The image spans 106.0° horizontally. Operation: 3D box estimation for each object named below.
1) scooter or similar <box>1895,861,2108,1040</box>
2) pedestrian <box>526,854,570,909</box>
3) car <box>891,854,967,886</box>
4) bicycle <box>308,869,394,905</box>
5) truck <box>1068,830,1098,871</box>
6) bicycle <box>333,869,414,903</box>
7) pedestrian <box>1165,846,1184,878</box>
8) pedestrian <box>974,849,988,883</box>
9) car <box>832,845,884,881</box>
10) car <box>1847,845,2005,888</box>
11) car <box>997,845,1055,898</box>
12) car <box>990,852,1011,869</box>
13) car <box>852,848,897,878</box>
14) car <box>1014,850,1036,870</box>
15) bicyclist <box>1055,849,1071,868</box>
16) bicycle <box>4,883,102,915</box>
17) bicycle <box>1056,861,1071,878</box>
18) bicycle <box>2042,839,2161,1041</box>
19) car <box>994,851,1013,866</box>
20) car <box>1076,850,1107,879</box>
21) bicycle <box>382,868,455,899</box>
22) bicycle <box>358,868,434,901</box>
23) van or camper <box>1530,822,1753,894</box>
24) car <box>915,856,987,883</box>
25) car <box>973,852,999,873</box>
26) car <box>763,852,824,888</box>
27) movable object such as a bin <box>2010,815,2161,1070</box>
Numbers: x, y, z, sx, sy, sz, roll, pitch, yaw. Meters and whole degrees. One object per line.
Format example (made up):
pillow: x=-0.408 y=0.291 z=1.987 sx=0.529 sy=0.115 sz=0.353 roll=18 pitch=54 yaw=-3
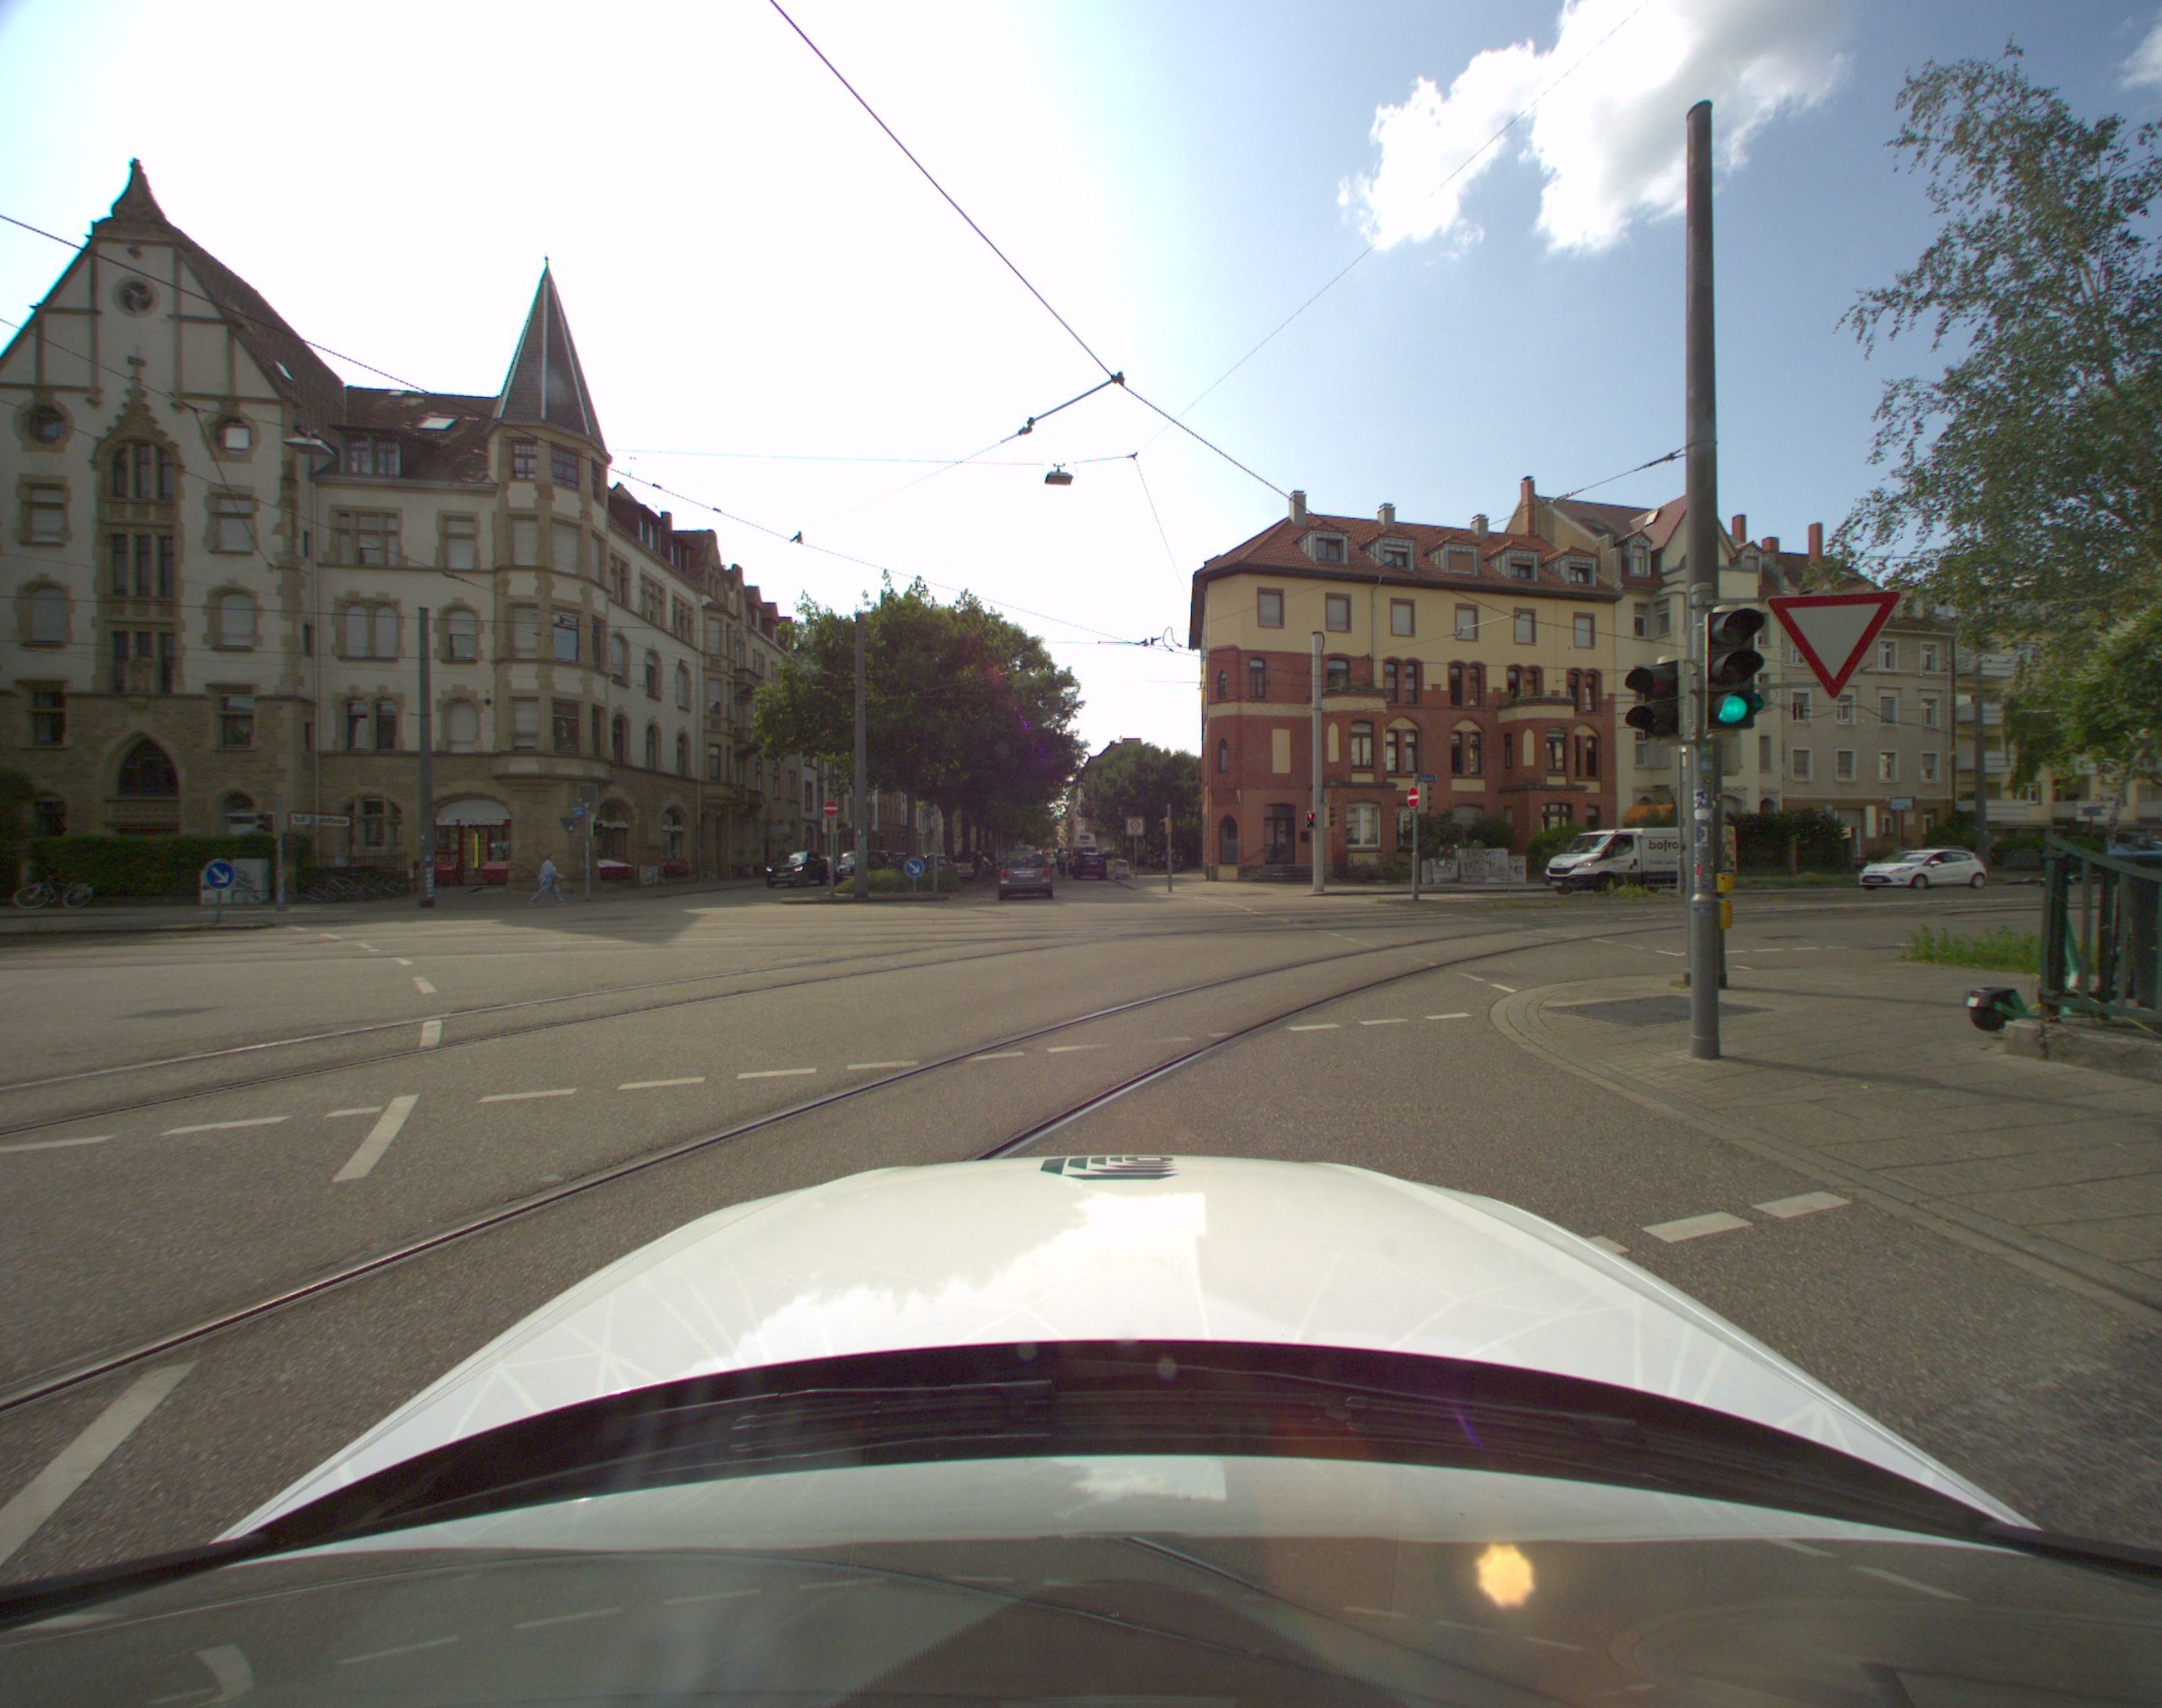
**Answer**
scooter or similar: x=6.789 y=0.680 z=6.024 sx=1.193 sy=1.217 sz=0.462 roll=-1 pitch=0 yaw=-9
pedestrian: x=-17.115 y=0.868 z=26.174 sx=0.766 sy=1.722 sz=1.030 roll=-1 pitch=0 yaw=44
car: x=-7.662 y=0.769 z=40.807 sx=1.985 sy=1.494 sz=3.952 roll=-1 pitch=0 yaw=-41
bicycle: x=-23.842 y=1.078 z=26.640 sx=1.918 sy=1.081 sz=0.775 roll=-1 pitch=0 yaw=-13
truck: x=0.196 y=-0.299 z=61.943 sx=2.115 sy=2.970 sz=4.002 roll=-1 pitch=0 yaw=2
bicycle: x=-24.177 y=1.083 z=27.871 sx=1.918 sy=1.081 sz=0.775 roll=-1 pitch=0 yaw=-13
pedestrian: x=4.762 y=0.403 z=41.529 sx=0.865 sy=1.656 sz=0.737 roll=-1 pitch=0 yaw=2
pedestrian: x=-5.109 y=0.630 z=41.669 sx=0.649 sy=1.725 sz=0.495 roll=-1 pitch=0 yaw=1
car: x=-11.439 y=0.451 z=41.985 sx=1.992 sy=1.728 sz=3.990 roll=-1 pitch=0 yaw=-7
car: x=30.315 y=0.434 z=29.297 sx=4.002 sy=1.439 sz=1.931 roll=-1 pitch=0 yaw=-7
car: x=-1.782 y=0.552 z=27.285 sx=1.717 sy=1.605 sz=3.675 roll=-1 pitch=0 yaw=-1
car: x=-7.808 y=0.623 z=78.762 sx=1.747 sy=1.517 sz=3.497 roll=-1 pitch=0 yaw=-2
car: x=-11.906 y=0.521 z=47.239 sx=1.992 sy=1.618 sz=3.990 roll=-1 pitch=0 yaw=-7
car: x=-4.887 y=0.508 z=71.447 sx=1.717 sy=1.706 sz=3.675 roll=-1 pitch=0 yaw=-1
bicyclist: x=-1.070 y=0.245 z=48.760 sx=0.833 sy=1.082 sz=1.401 roll=-1 pitch=0 yaw=2
bicycle: x=-30.701 y=1.335 z=24.342 sx=1.918 sy=0.848 sz=0.468 roll=-2 pitch=0 yaw=-13
bicycle: x=-1.046 y=0.939 z=48.753 sx=0.746 sy=0.958 sz=2.300 roll=-1 pitch=0 yaw=2
bicycle: x=7.687 y=0.563 z=5.789 sx=1.829 sy=1.329 sz=0.276 roll=-1 pitch=0 yaw=-13
car: x=-8.105 y=0.461 z=85.588 sx=1.747 sy=1.517 sz=3.497 roll=-1 pitch=0 yaw=-2
car: x=0.664 y=0.609 z=49.054 sx=1.745 sy=1.633 sz=3.501 roll=-1 pitch=0 yaw=2
bicycle: x=-24.578 y=1.086 z=30.233 sx=1.918 sy=1.081 sz=0.775 roll=-1 pitch=0 yaw=-13
bicycle: x=-24.368 y=1.084 z=29.000 sx=1.918 sy=1.081 sz=0.775 roll=-1 pitch=0 yaw=-13
van or camper: x=18.941 y=0.094 z=27.612 sx=6.523 sy=2.253 sz=2.241 roll=-1 pitch=0 yaw=-10
car: x=-6.974 y=0.818 z=43.454 sx=1.985 sy=1.339 sz=3.952 roll=-1 pitch=0 yaw=-41
car: x=-7.542 y=0.642 z=64.831 sx=1.747 sy=1.633 sz=3.497 roll=-1 pitch=0 yaw=-2
car: x=-14.115 y=0.755 z=40.219 sx=1.992 sy=1.618 sz=3.990 roll=-1 pitch=0 yaw=-7
movable object such as a bin: x=6.547 y=0.502 z=4.928 sx=0.715 sy=1.472 sz=0.979 roll=-1 pitch=0 yaw=-11
